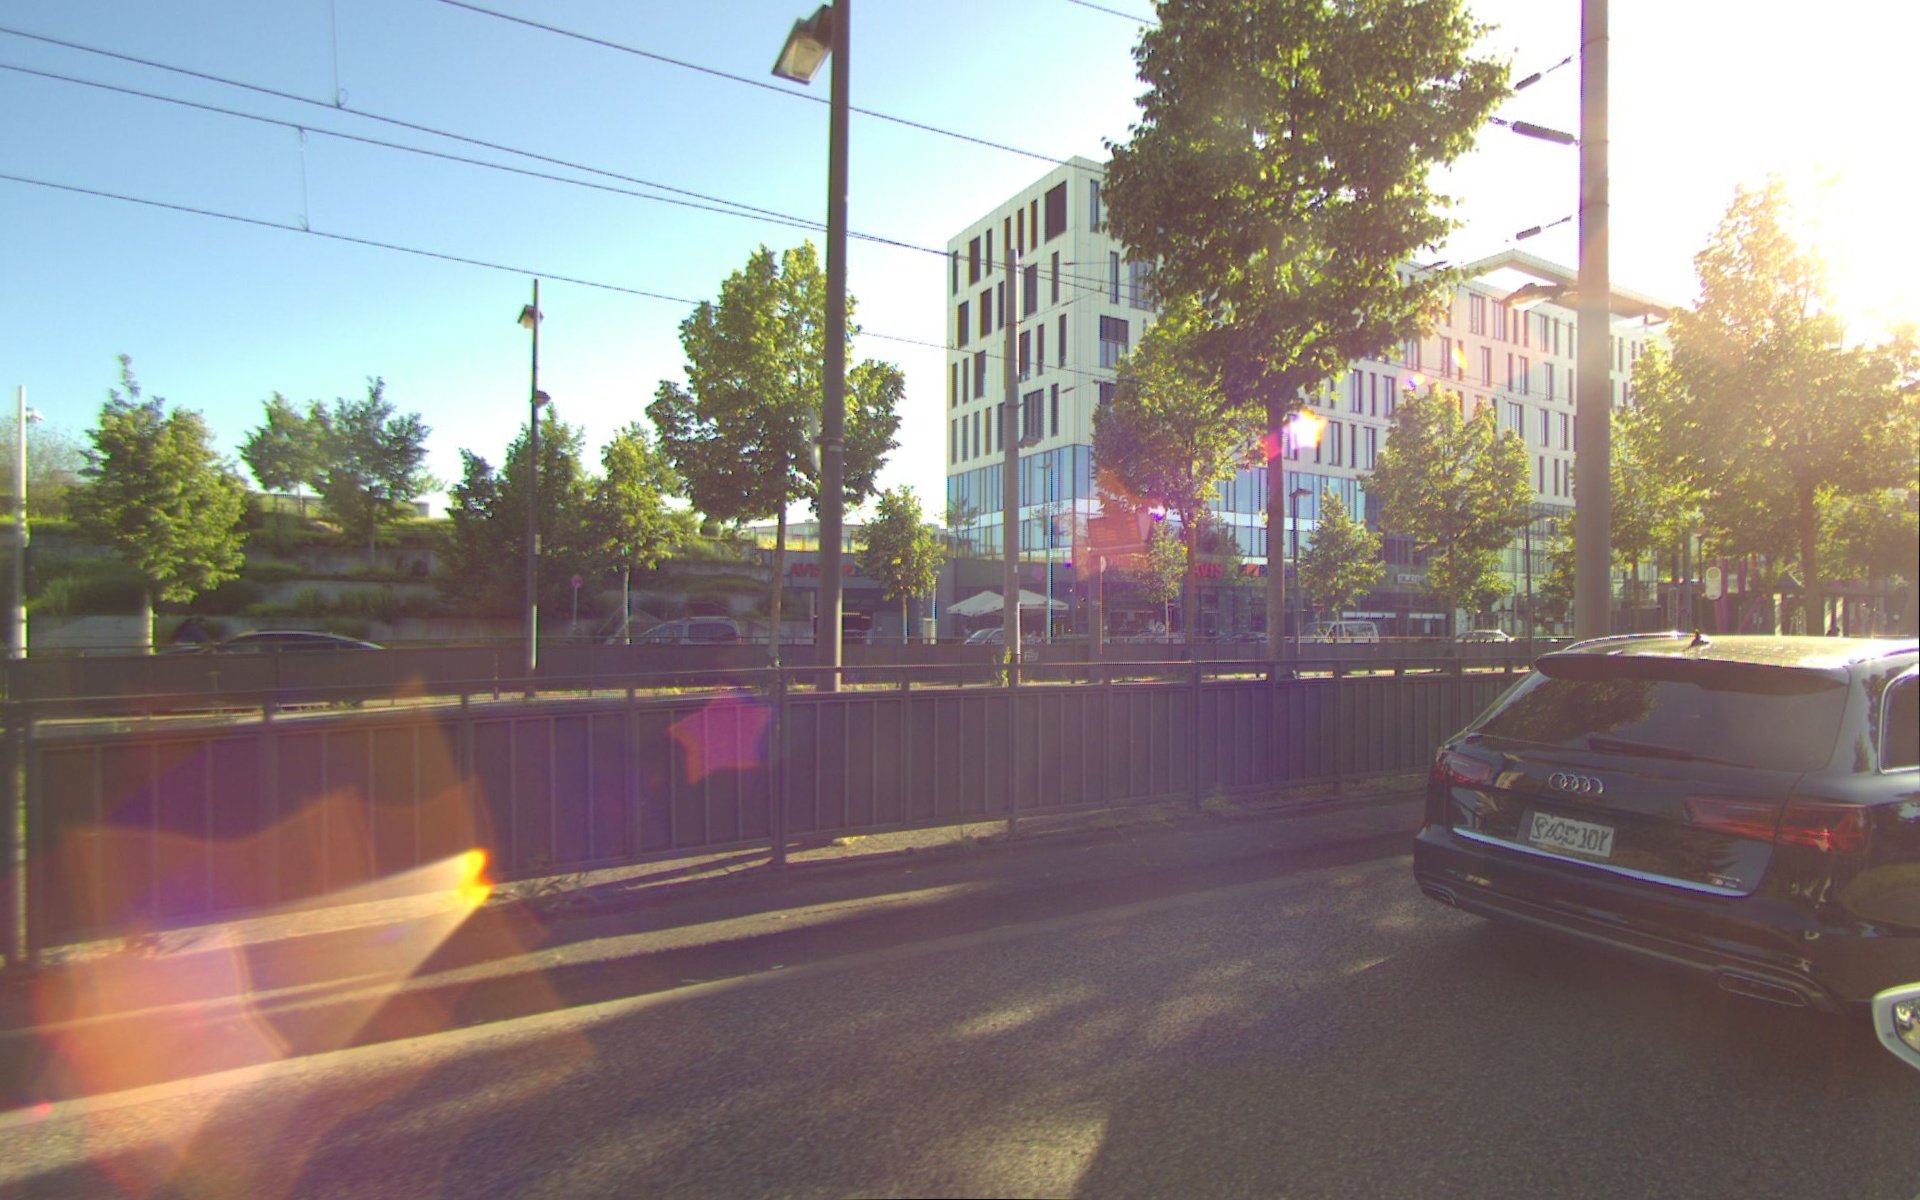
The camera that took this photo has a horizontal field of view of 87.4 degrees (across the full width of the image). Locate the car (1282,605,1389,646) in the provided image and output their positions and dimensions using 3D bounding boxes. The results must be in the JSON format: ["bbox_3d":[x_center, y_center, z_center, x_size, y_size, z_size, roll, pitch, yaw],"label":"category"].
[{"bbox_3d":[17.322,1.163,46.334,4.794,1.737,1.984,2,0,-30],"label":"car"}]

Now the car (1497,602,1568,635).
[{"bbox_3d":[37.331,1.219,65.509,4.509,2.040,1.984,2,0,-30],"label":"car"}]

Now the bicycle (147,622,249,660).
[{"bbox_3d":[-20.893,1.135,27.605,2.163,1.014,0.494,2,0,-31],"label":"bicycle"}]

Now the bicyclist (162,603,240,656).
[{"bbox_3d":[-20.853,0.819,27.625,1.641,1.424,0.486,2,0,-31],"label":"bicyclist"}]

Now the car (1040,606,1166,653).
[{"bbox_3d":[5.577,1.150,39.035,4.556,1.694,1.984,2,0,-30],"label":"car"}]

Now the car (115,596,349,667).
[{"bbox_3d":[-18.264,0.799,25.509,4.556,1.642,1.870,2,0,-30],"label":"car"}]

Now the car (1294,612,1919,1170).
[{"bbox_3d":[4.165,0.863,4.853,5.022,1.500,1.944,1,0,-29],"label":"car"}]

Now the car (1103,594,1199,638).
[{"bbox_3d":[9.644,0.826,50.749,4.509,2.040,1.984,2,1,-30],"label":"car"}]

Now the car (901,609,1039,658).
[{"bbox_3d":[0.380,1.216,36.221,4.556,1.630,1.984,2,0,-30],"label":"car"}]

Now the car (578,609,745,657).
[{"bbox_3d":[-9.053,1.011,30.528,4.556,1.343,1.904,2,0,-30],"label":"car"}]
